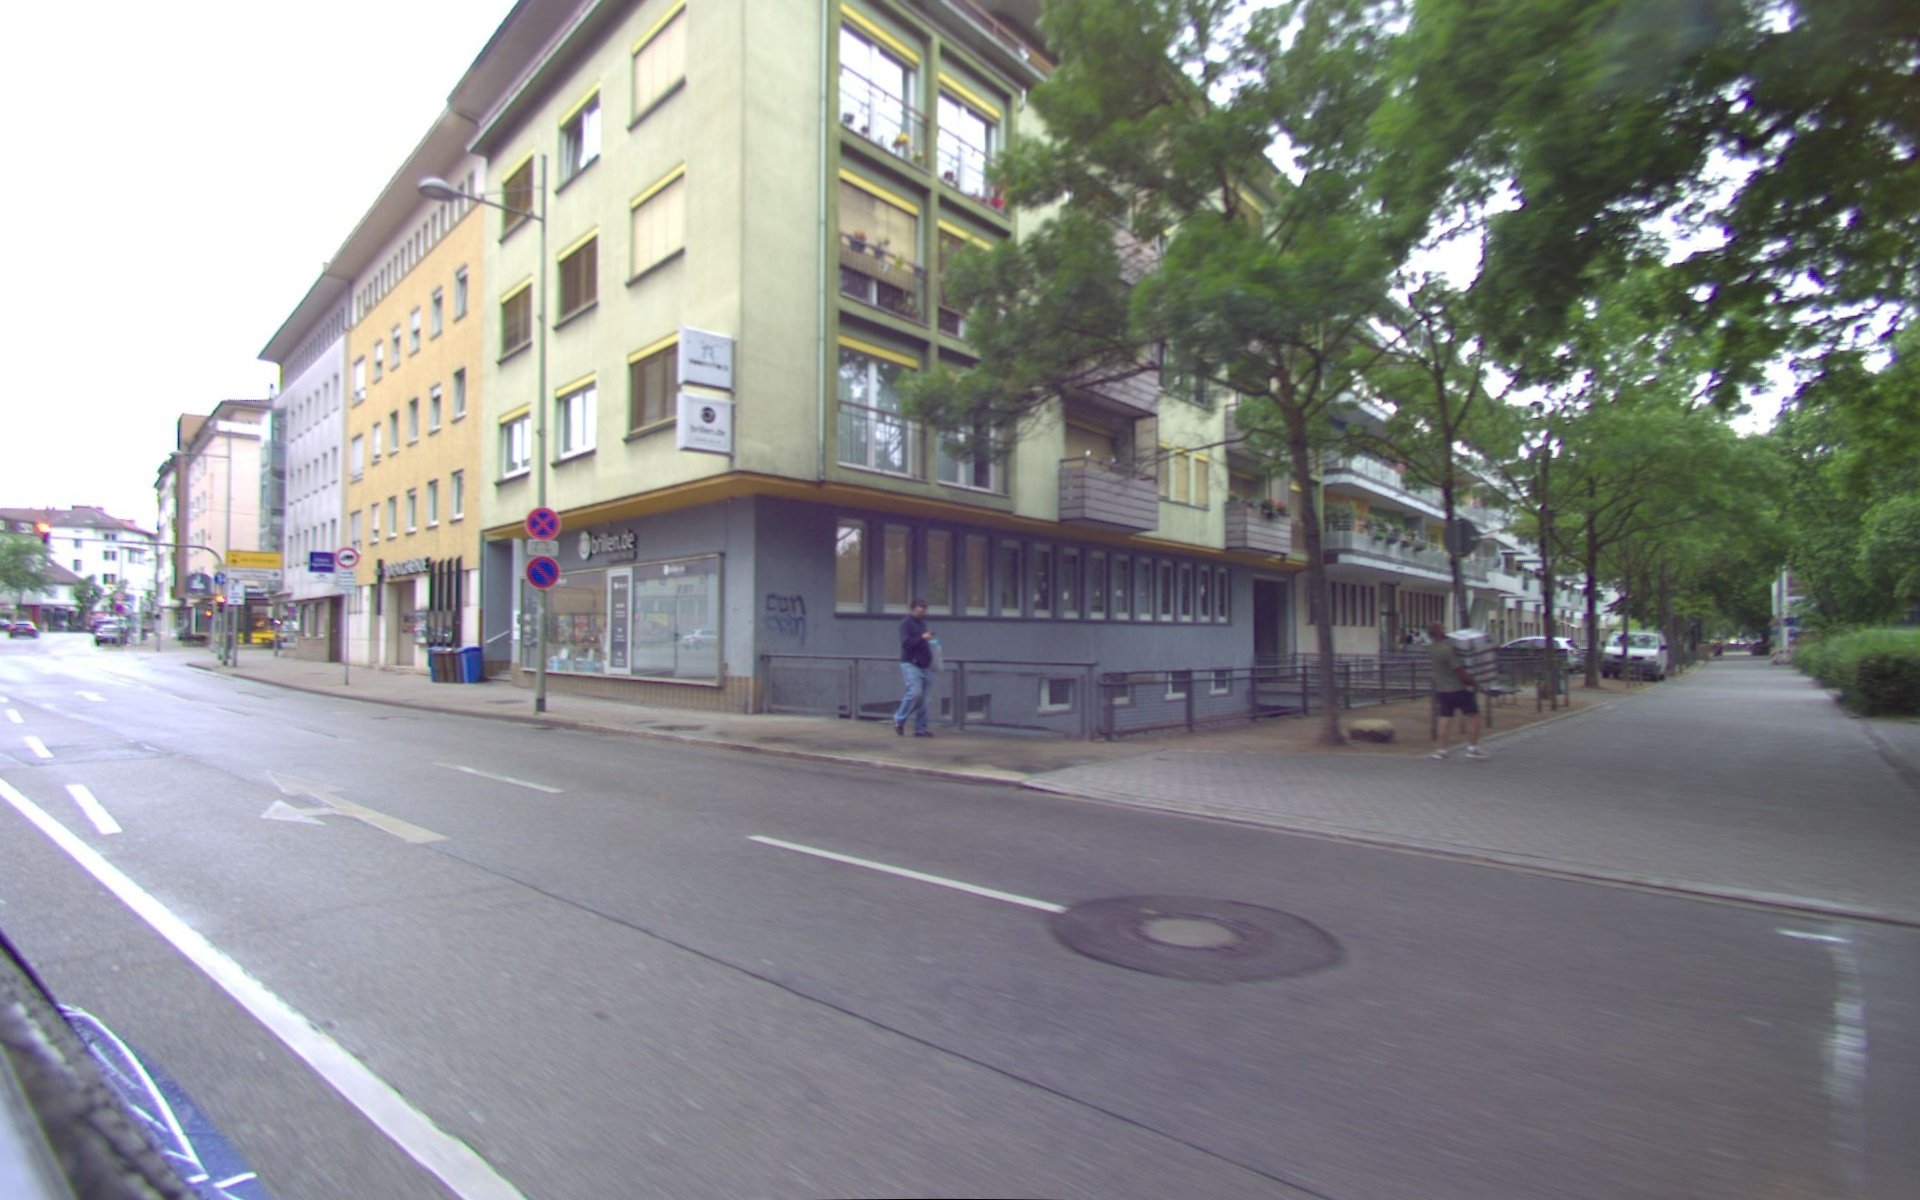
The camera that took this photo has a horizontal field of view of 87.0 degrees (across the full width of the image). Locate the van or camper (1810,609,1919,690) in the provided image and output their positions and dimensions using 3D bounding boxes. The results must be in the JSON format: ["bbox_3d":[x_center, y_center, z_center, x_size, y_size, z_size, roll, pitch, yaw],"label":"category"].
[{"bbox_3d":[30.785,1.632,34.574,2.561,2.420,8.535,-2,-3,41],"label":"van or camper"}]

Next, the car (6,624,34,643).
[{"bbox_3d":[-84.458,3.009,90.977,1.723,1.608,4.005,2,-3,-42],"label":"car"}]

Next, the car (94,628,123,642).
[{"bbox_3d":[-112.426,4.681,133.622,1.984,1.778,4.777,2,-3,-29],"label":"car"}]

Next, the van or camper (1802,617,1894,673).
[{"bbox_3d":[41.433,2.071,47.394,2.945,2.420,8.537,-2,-3,40],"label":"van or camper"}]

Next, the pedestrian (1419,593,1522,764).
[{"bbox_3d":[6.121,0.913,12.128,0.906,1.939,0.820,2,-3,-44],"label":"pedestrian"}]

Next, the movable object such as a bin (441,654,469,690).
[{"bbox_3d":[-13.477,1.922,27.023,0.522,0.902,0.435,-3,1,-42],"label":"movable object such as a bin"}]

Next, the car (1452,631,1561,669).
[{"bbox_3d":[24.415,2.191,45.255,3.998,1.608,1.757,-1,-2,41],"label":"car"}]

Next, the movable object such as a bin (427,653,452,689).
[{"bbox_3d":[-14.194,1.929,27.612,0.458,0.935,0.429,-3,1,-42],"label":"movable object such as a bin"}]

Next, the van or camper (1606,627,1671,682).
[{"bbox_3d":[27.295,2.165,40.658,1.825,2.029,4.577,1,-2,38],"label":"van or camper"}]

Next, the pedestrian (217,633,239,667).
[{"bbox_3d":[-35.905,2.431,49.628,0.773,1.600,0.675,-1,-1,-29],"label":"pedestrian"}]

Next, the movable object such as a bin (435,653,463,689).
[{"bbox_3d":[-13.810,1.910,27.343,0.521,0.935,0.426,-3,1,-42],"label":"movable object such as a bin"}]

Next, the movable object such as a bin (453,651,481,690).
[{"bbox_3d":[-13.015,1.864,26.725,0.522,0.968,0.435,-3,1,-42],"label":"movable object such as a bin"}]

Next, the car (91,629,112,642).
[{"bbox_3d":[-99.637,4.125,117.448,1.567,1.539,3.496,1,-3,-36],"label":"car"}]

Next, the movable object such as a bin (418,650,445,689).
[{"bbox_3d":[-14.746,1.934,28.240,0.510,1.008,0.524,-3,1,-42],"label":"movable object such as a bin"}]

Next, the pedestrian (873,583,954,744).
[{"bbox_3d":[-0.609,0.823,13.318,0.741,2.029,0.783,2,-3,-43],"label":"pedestrian"}]

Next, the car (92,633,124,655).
[{"bbox_3d":[-65.465,3.351,77.800,1.807,1.634,4.007,2,-3,-39],"label":"car"}]

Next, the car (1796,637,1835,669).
[{"bbox_3d":[48.846,3.003,57.749,1.525,1.559,3.818,-1,0,42],"label":"car"}]
